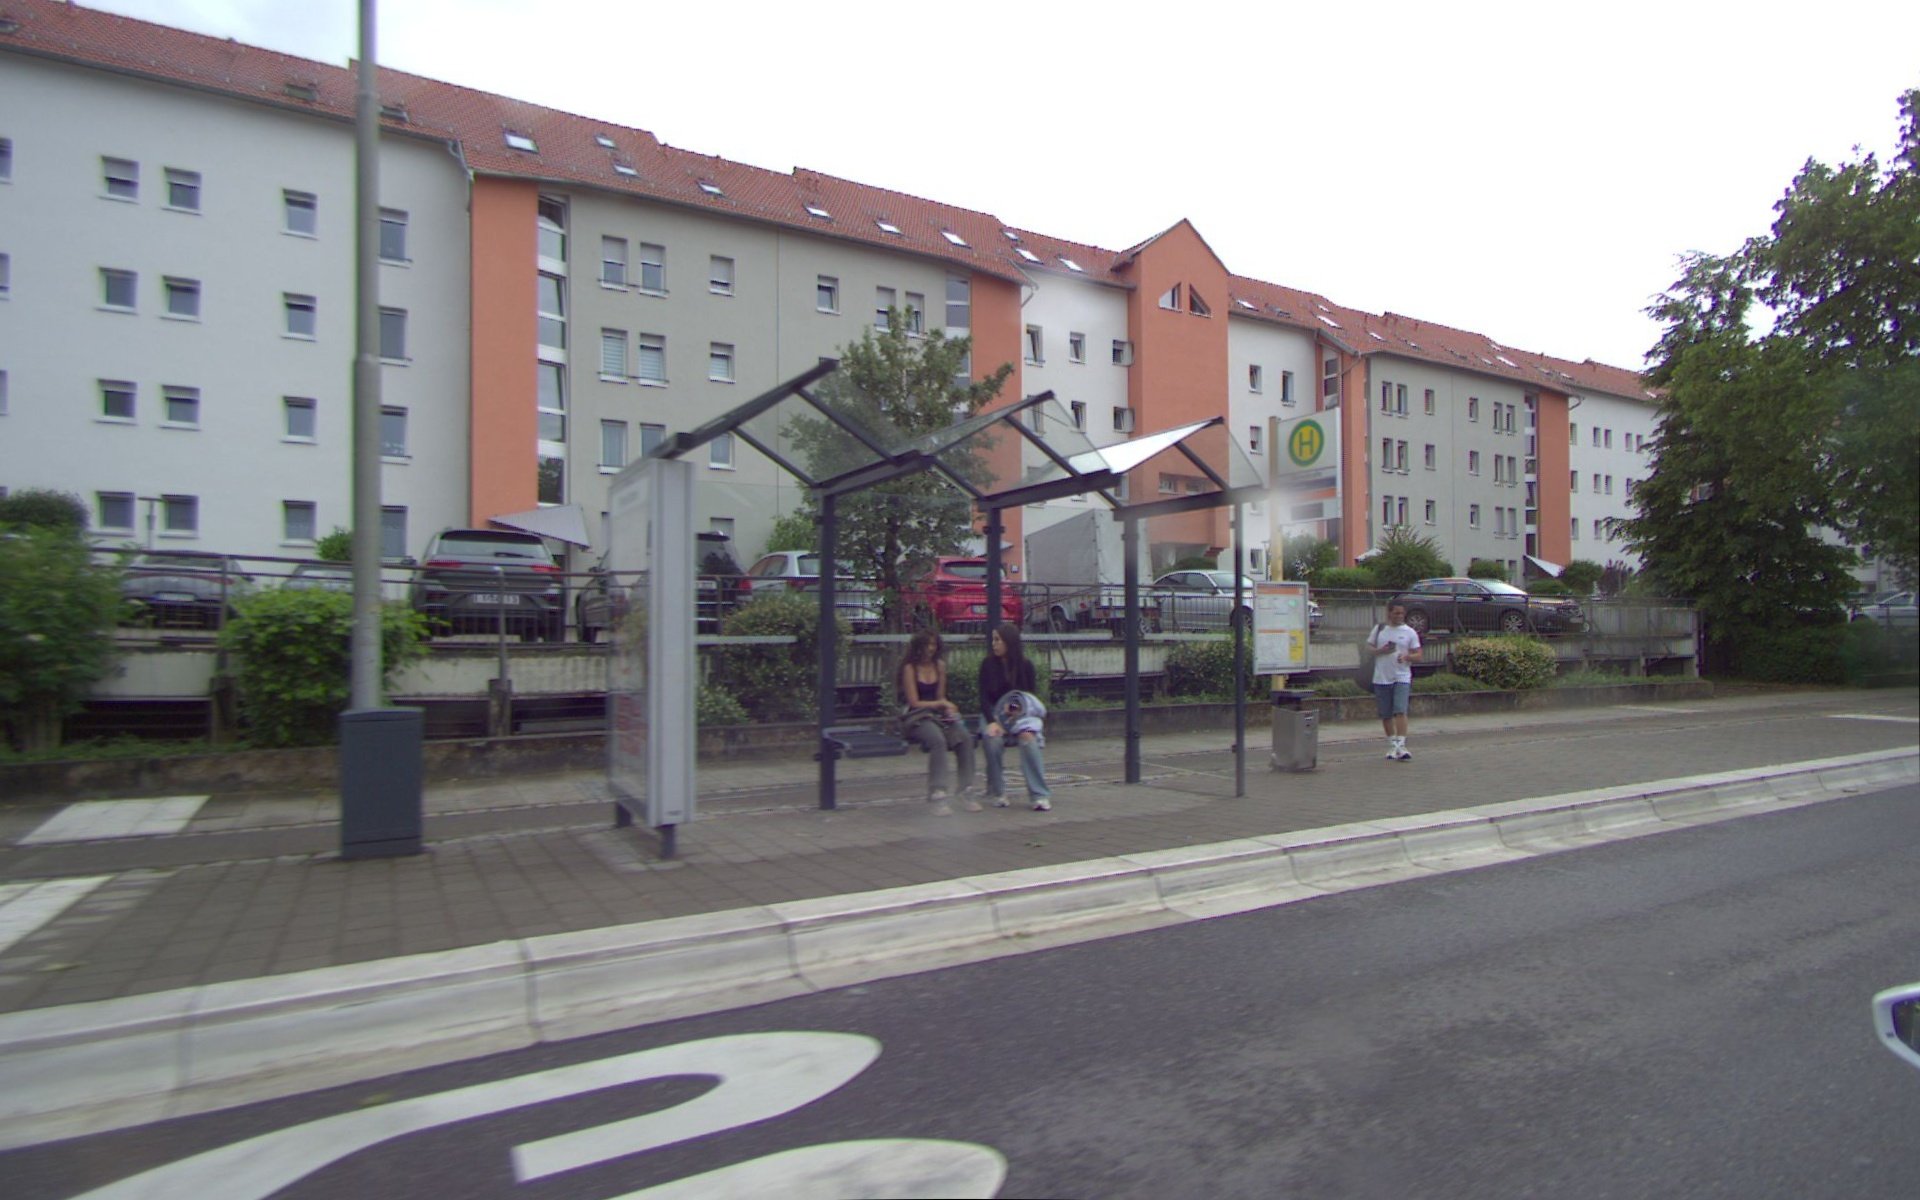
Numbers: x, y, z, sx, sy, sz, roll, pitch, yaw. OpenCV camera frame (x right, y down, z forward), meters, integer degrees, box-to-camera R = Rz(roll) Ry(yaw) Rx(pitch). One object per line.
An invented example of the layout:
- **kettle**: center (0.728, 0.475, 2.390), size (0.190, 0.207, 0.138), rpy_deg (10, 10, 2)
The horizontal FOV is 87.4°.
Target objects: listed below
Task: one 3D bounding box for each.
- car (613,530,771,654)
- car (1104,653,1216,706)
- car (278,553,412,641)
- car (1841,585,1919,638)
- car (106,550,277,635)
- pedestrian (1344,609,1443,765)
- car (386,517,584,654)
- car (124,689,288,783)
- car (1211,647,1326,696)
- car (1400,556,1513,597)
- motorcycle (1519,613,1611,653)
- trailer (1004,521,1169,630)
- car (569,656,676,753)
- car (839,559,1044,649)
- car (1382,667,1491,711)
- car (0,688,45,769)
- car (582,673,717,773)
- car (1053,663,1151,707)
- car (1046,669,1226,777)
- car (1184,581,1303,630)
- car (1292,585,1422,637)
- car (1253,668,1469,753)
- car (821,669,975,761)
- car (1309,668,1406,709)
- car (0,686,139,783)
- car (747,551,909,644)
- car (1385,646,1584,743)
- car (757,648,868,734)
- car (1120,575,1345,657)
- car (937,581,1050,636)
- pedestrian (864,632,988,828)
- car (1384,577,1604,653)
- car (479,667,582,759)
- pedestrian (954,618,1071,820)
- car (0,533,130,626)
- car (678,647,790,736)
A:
- **car**: center (-3.964, -0.102, 14.546), size (1.420, 1.563, 3.115), rpy_deg (3, -1, -30)
- **car**: center (6.283, 2.480, 31.870), size (1.697, 1.423, 3.504), rpy_deg (1, -1, -28)
- **car**: center (-12.503, -0.048, 20.657), size (1.975, 1.550, 3.972), rpy_deg (3, -1, -27)
- **car**: center (37.459, 0.476, 39.324), size (1.699, 2.040, 4.147), rpy_deg (1, -1, -31)
- **car**: center (-14.642, -0.125, 19.394), size (1.881, 1.415, 3.972), rpy_deg (3, -1, -27)
- **pedestrian**: center (4.697, 0.941, 10.925), size (0.599, 1.618, 0.739), rpy_deg (3, -5, -26)
- **car**: center (-6.461, -0.159, 13.449), size (1.878, 1.518, 3.631), rpy_deg (3, -1, -33)
- **car**: center (-15.570, 2.744, 20.996), size (2.039, 1.415, 3.972), rpy_deg (3, -1, -27)
- **car**: center (11.157, 2.574, 36.552), size (1.699, 1.531, 3.790), rpy_deg (3, -2, -31)
- **car**: center (18.795, -0.857, 38.174), size (1.526, 1.412, 3.579), rpy_deg (3, -1, -31)
- **motorcycle**: center (15.176, 0.822, 25.255), size (0.562, 0.925, 1.943), rpy_deg (3, -1, -29)
- **trailer**: center (2.087, -0.377, 17.097), size (1.462, 1.667, 2.692), rpy_deg (2, 0, -29)
- **car**: center (-8.485, 2.495, 25.042), size (1.974, 2.040, 3.972), rpy_deg (1, -1, -27)
- **car**: center (-0.458, 0.056, 17.370), size (1.789, 1.320, 4.069), rpy_deg (3, -1, -30)
- **car**: center (18.362, 3.401, 38.850), size (1.526, 1.412, 3.579), rpy_deg (1, -1, -31)
- **car**: center (-19.787, 2.568, 19.467), size (2.039, 1.415, 3.972), rpy_deg (1, -1, -27)
- **car**: center (-5.643, 2.112, 17.983), size (1.539, 1.320, 3.623), rpy_deg (3, -1, -30)
- **car**: center (4.295, 2.560, 30.737), size (1.360, 1.097, 3.185), rpy_deg (1, -1, -28)
- **car**: center (3.402, 2.329, 19.939), size (1.685, 1.719, 3.493), rpy_deg (1, -1, -30)
- **car**: center (9.692, 0.182, 34.582), size (1.699, 1.531, 3.790), rpy_deg (3, -1, -31)
- **car**: center (13.353, 0.339, 33.960), size (1.699, 1.623, 3.790), rpy_deg (3, -1, -31)
- **car**: center (8.951, 2.413, 22.803), size (1.838, 1.443, 4.335), rpy_deg (3, -1, -30)
- **car**: center (-1.376, 2.291, 20.728), size (1.571, 1.423, 3.950), rpy_deg (3, -1, -30)
- **car**: center (16.671, 3.701, 42.257), size (1.526, 1.412, 3.579), rpy_deg (3, -1, -31)
- **car**: center (-17.841, 2.550, 19.554), size (2.039, 1.415, 3.972), rpy_deg (1, -1, -27)
- **car**: center (-2.162, -0.036, 15.848), size (1.420, 1.287, 3.115), rpy_deg (3, -1, -30)
- **car**: center (13.090, 2.298, 25.287), size (1.977, 2.040, 3.967), rpy_deg (3, -1, -30)
- **car**: center (-4.157, 2.432, 27.787), size (1.917, 2.040, 3.893), rpy_deg (1, -1, -27)
- **car**: center (5.339, 0.289, 20.246), size (1.838, 1.443, 4.335), rpy_deg (3, -1, -30)
- **car**: center (0.906, 0.237, 28.745), size (1.697, 1.422, 3.504), rpy_deg (3, -1, -28)
- **pedestrian**: center (-0.258, 0.921, 7.367), size (0.632, 1.334, 0.773), rpy_deg (3, -4, -26)
- **car**: center (13.268, 0.349, 25.255), size (1.977, 1.694, 4.522), rpy_deg (3, -1, -30)
- **car**: center (-10.293, 2.585, 23.919), size (1.974, 1.773, 3.877), rpy_deg (1, -1, -27)
- **pedestrian**: center (0.394, 0.881, 7.633), size (0.632, 1.436, 0.685), rpy_deg (3, -5, -26)
- **car**: center (-17.100, -0.374, 18.701), size (1.663, 1.527, 3.972), rpy_deg (3, -1, -27)
- **car**: center (-6.077, 2.336, 26.731), size (1.974, 2.040, 3.972), rpy_deg (1, -1, -27)
